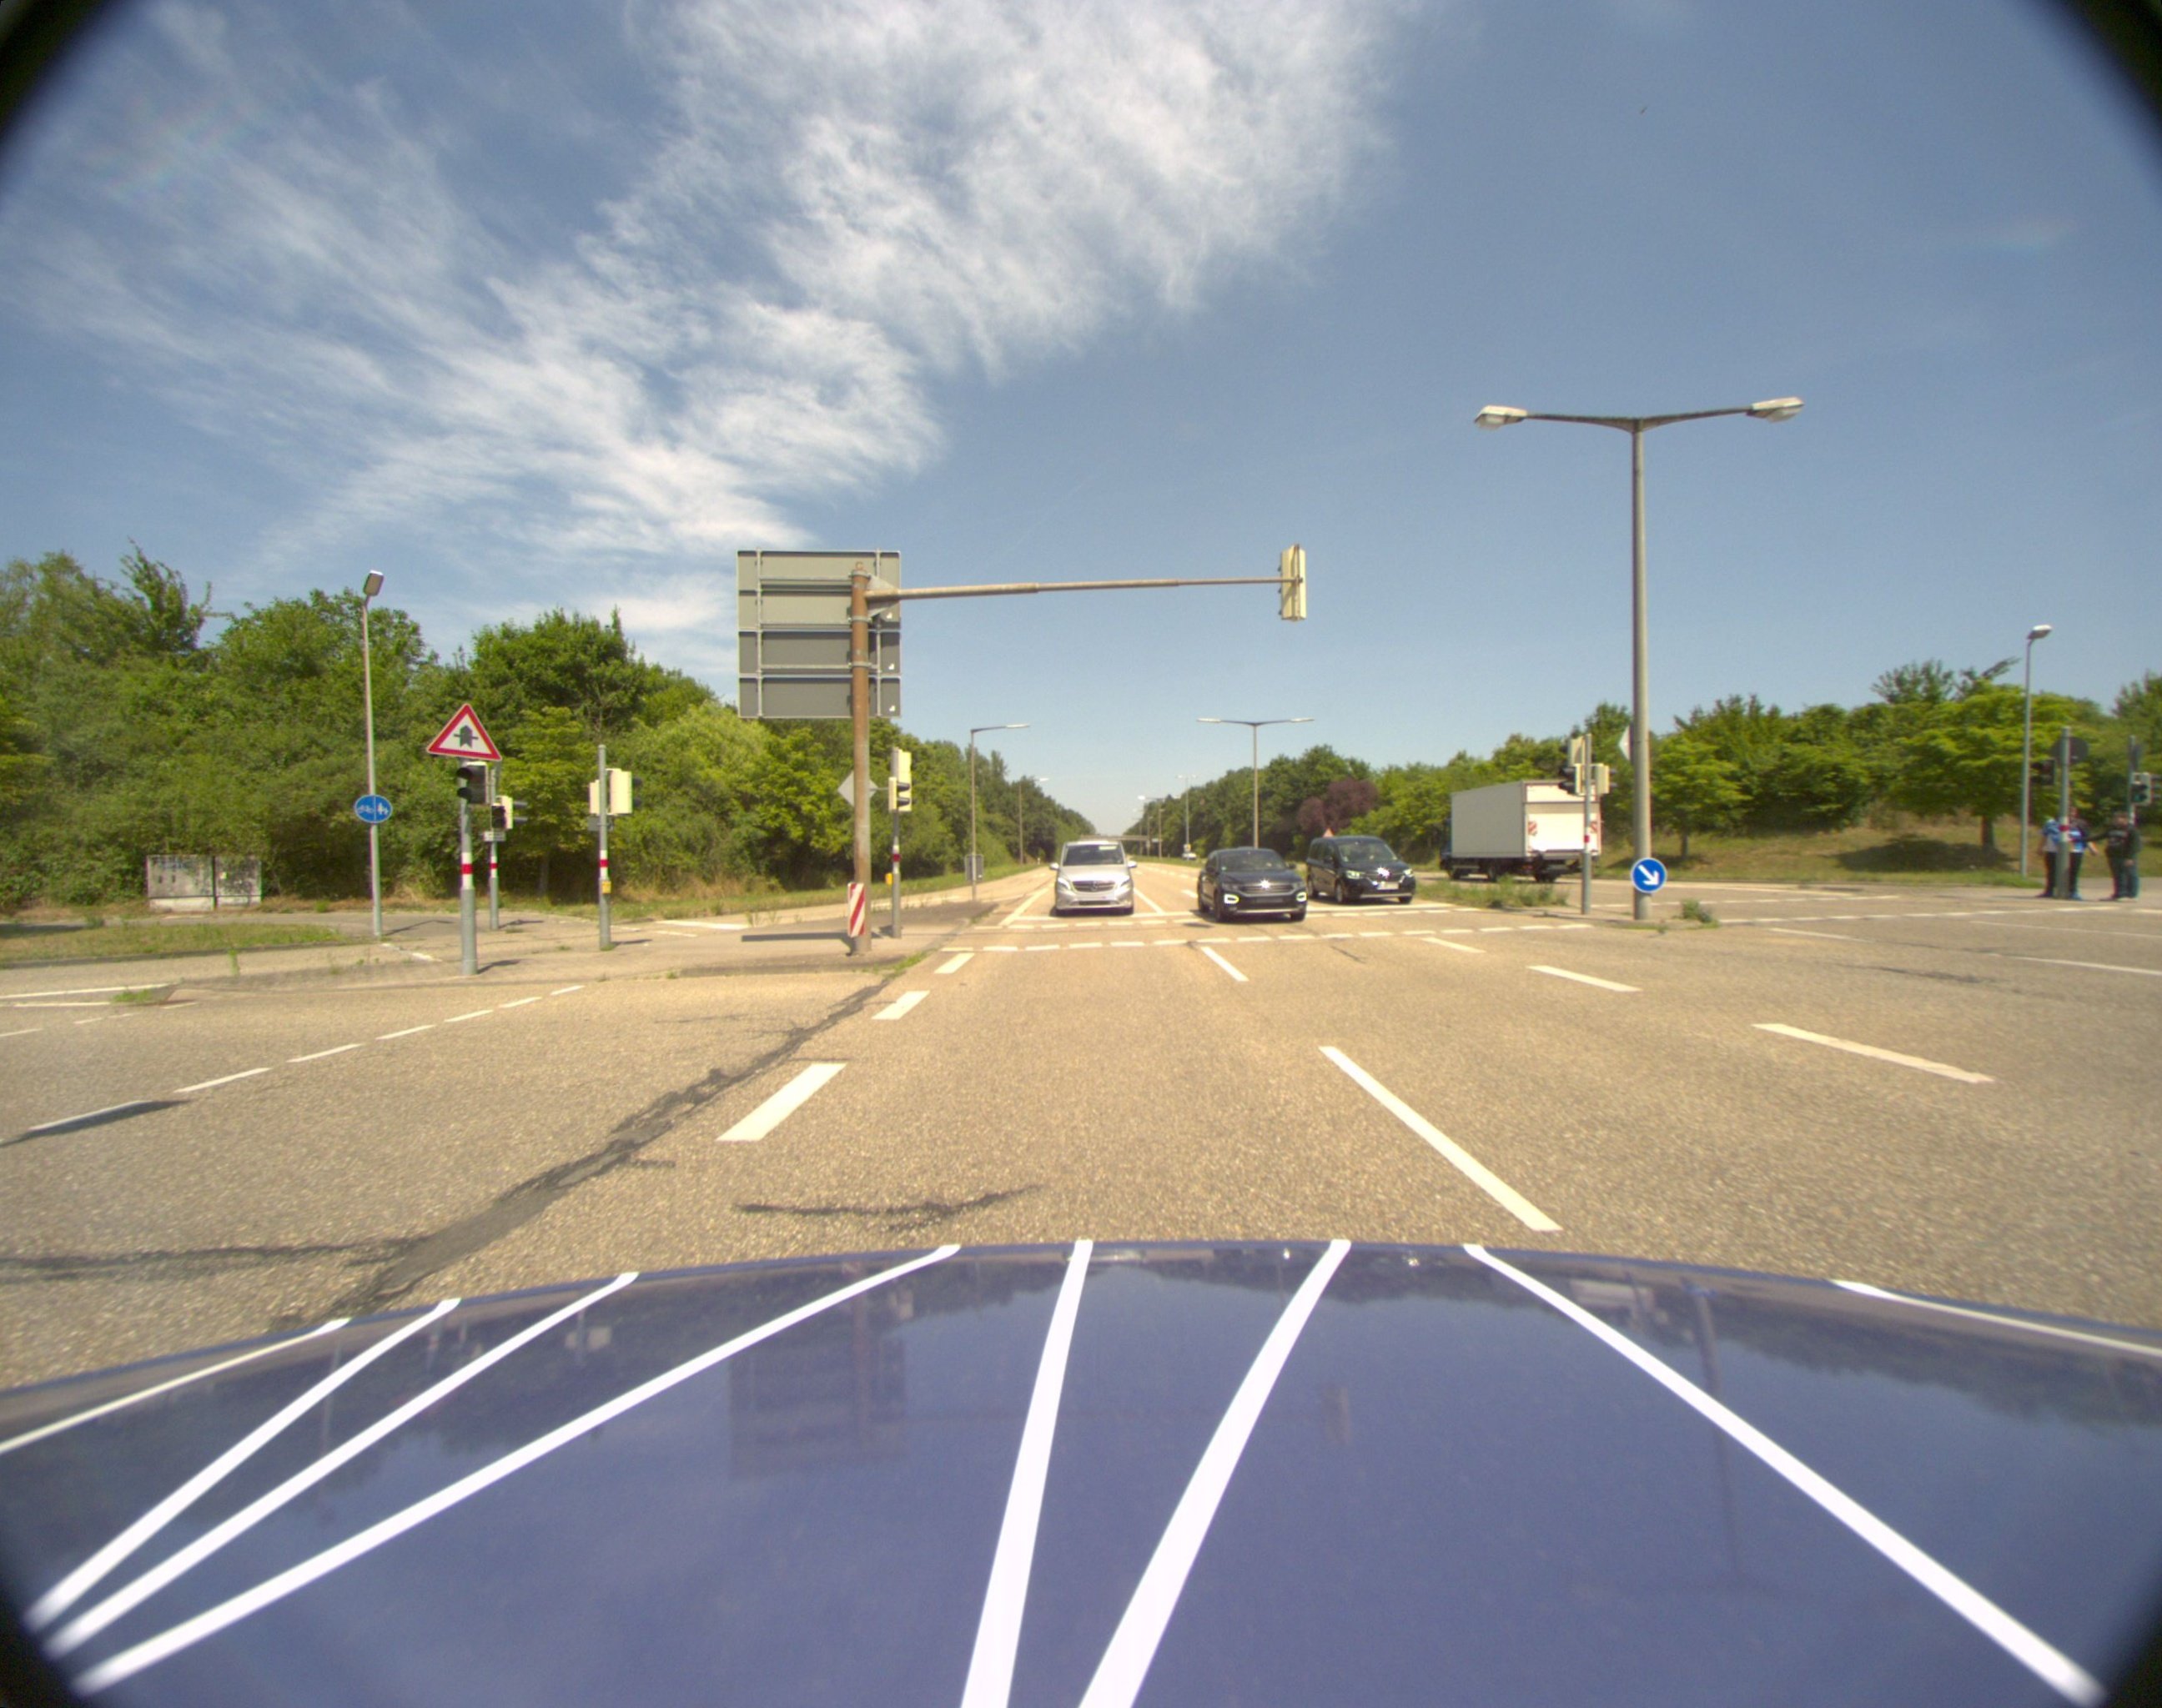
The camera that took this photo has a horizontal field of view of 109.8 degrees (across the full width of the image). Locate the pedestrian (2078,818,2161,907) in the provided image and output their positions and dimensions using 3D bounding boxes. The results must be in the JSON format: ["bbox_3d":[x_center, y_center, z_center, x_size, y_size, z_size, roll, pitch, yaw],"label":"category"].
[{"bbox_3d":[20.200,0.160,14.745,0.723,1.690,0.776,-1,1,20],"label":"pedestrian"}]

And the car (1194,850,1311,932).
[{"bbox_3d":[3.637,0.721,16.810,1.738,1.503,3.970,-2,1,1],"label":"car"}]

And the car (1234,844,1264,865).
[{"bbox_3d":[14.149,0.041,64.323,1.711,1.653,4.223,-1,0,2],"label":"car"}]

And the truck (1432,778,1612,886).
[{"bbox_3d":[16.381,-0.759,28.971,2.694,3.550,7.267,-1,0,1],"label":"truck"}]

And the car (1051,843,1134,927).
[{"bbox_3d":[0.311,0.657,19.277,1.764,1.794,4.855,-2,1,1],"label":"car"}]

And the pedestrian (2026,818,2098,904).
[{"bbox_3d":[20.361,0.144,15.788,0.582,1.726,0.794,-1,1,21],"label":"pedestrian"}]

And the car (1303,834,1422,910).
[{"bbox_3d":[7.493,0.425,20.693,1.735,1.815,4.321,-1,0,2],"label":"car"}]

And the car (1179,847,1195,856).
[{"bbox_3d":[16.900,-0.393,121.413,1.827,1.447,4.168,-1,0,-1],"label":"car"}]

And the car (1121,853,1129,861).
[{"bbox_3d":[10.018,0.702,172.112,1.735,1.815,4.321,-1,0,2],"label":"car"}]
